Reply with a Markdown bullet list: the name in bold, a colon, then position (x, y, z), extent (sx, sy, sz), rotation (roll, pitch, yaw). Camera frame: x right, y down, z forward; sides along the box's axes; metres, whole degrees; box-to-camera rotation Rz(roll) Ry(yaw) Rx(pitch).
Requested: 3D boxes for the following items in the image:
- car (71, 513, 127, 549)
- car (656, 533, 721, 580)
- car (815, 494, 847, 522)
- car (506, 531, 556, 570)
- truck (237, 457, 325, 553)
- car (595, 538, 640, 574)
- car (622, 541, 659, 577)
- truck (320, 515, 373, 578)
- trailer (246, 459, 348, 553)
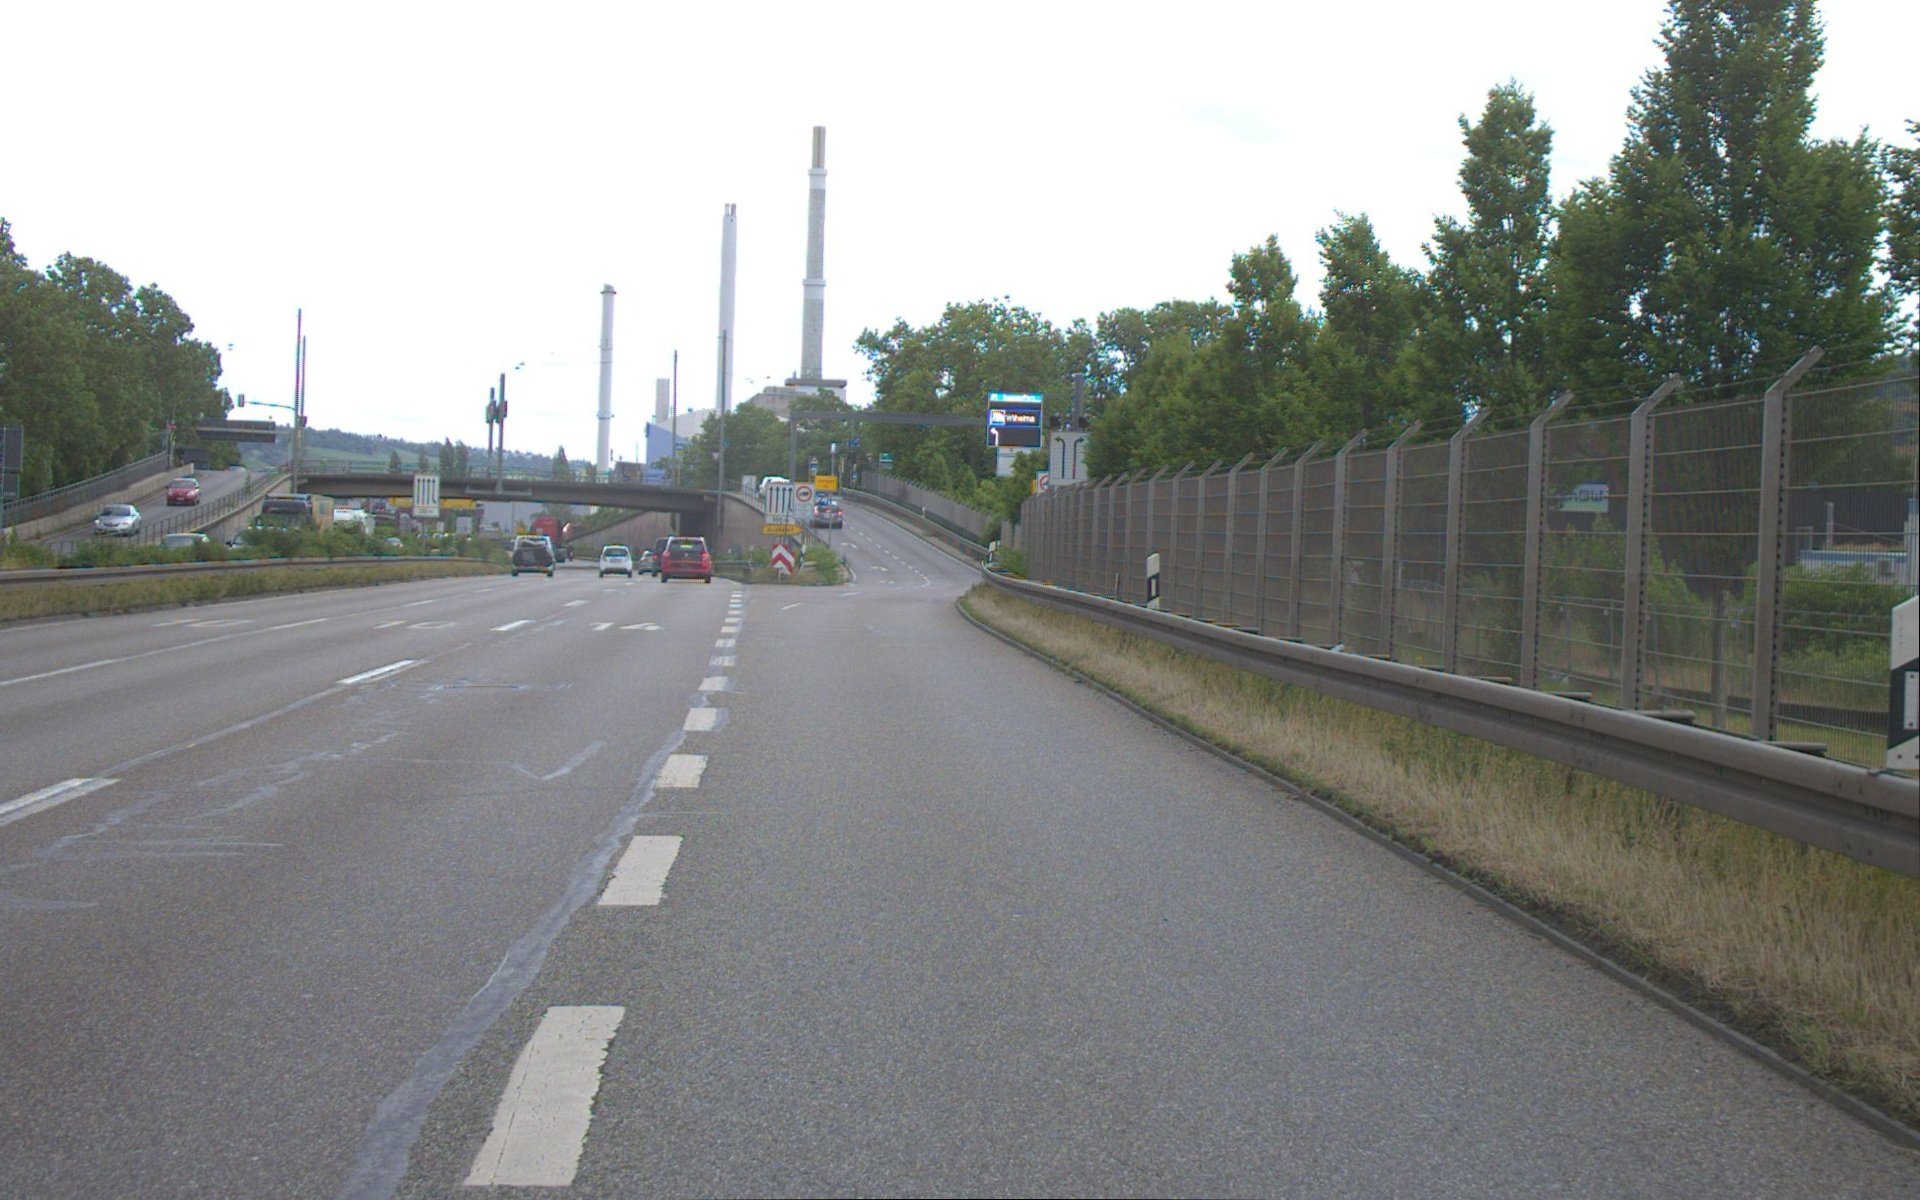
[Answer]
- **car**: position (-42.379, -3.408, 169.325), extent (1.993, 1.638, 4.605), rotation (3, 1, -6)
- **car**: position (-9.115, -1.471, 115.046), extent (1.993, 1.415, 4.001), rotation (2, 1, -6)
- **car**: position (-7.776, -5.543, 207.462), extent (1.750, 1.575, 4.085), rotation (-2, 1, 0)
- **car**: position (-19.876, -2.323, 159.398), extent (1.993, 1.678, 4.001), rotation (3, 1, -4)
- **truck**: position (-34.307, -4.769, 173.894), extent (3.463, 4.657, 6.212), rotation (2, 0, -4)
- **car**: position (-16.899, -2.181, 169.593), extent (1.993, 1.678, 4.001), rotation (3, 1, -4)
- **car**: position (-19.296, -2.486, 207.533), extent (1.917, 2.007, 4.001), rotation (2, 1, -8)
- **truck**: position (-39.505, -3.420, 221.481), extent (2.789, 3.924, 5.313), rotation (3, 0, -6)
- **trailer**: position (-34.877, -4.855, 181.519), extent (3.463, 4.657, 14.785), rotation (2, 1, -4)
